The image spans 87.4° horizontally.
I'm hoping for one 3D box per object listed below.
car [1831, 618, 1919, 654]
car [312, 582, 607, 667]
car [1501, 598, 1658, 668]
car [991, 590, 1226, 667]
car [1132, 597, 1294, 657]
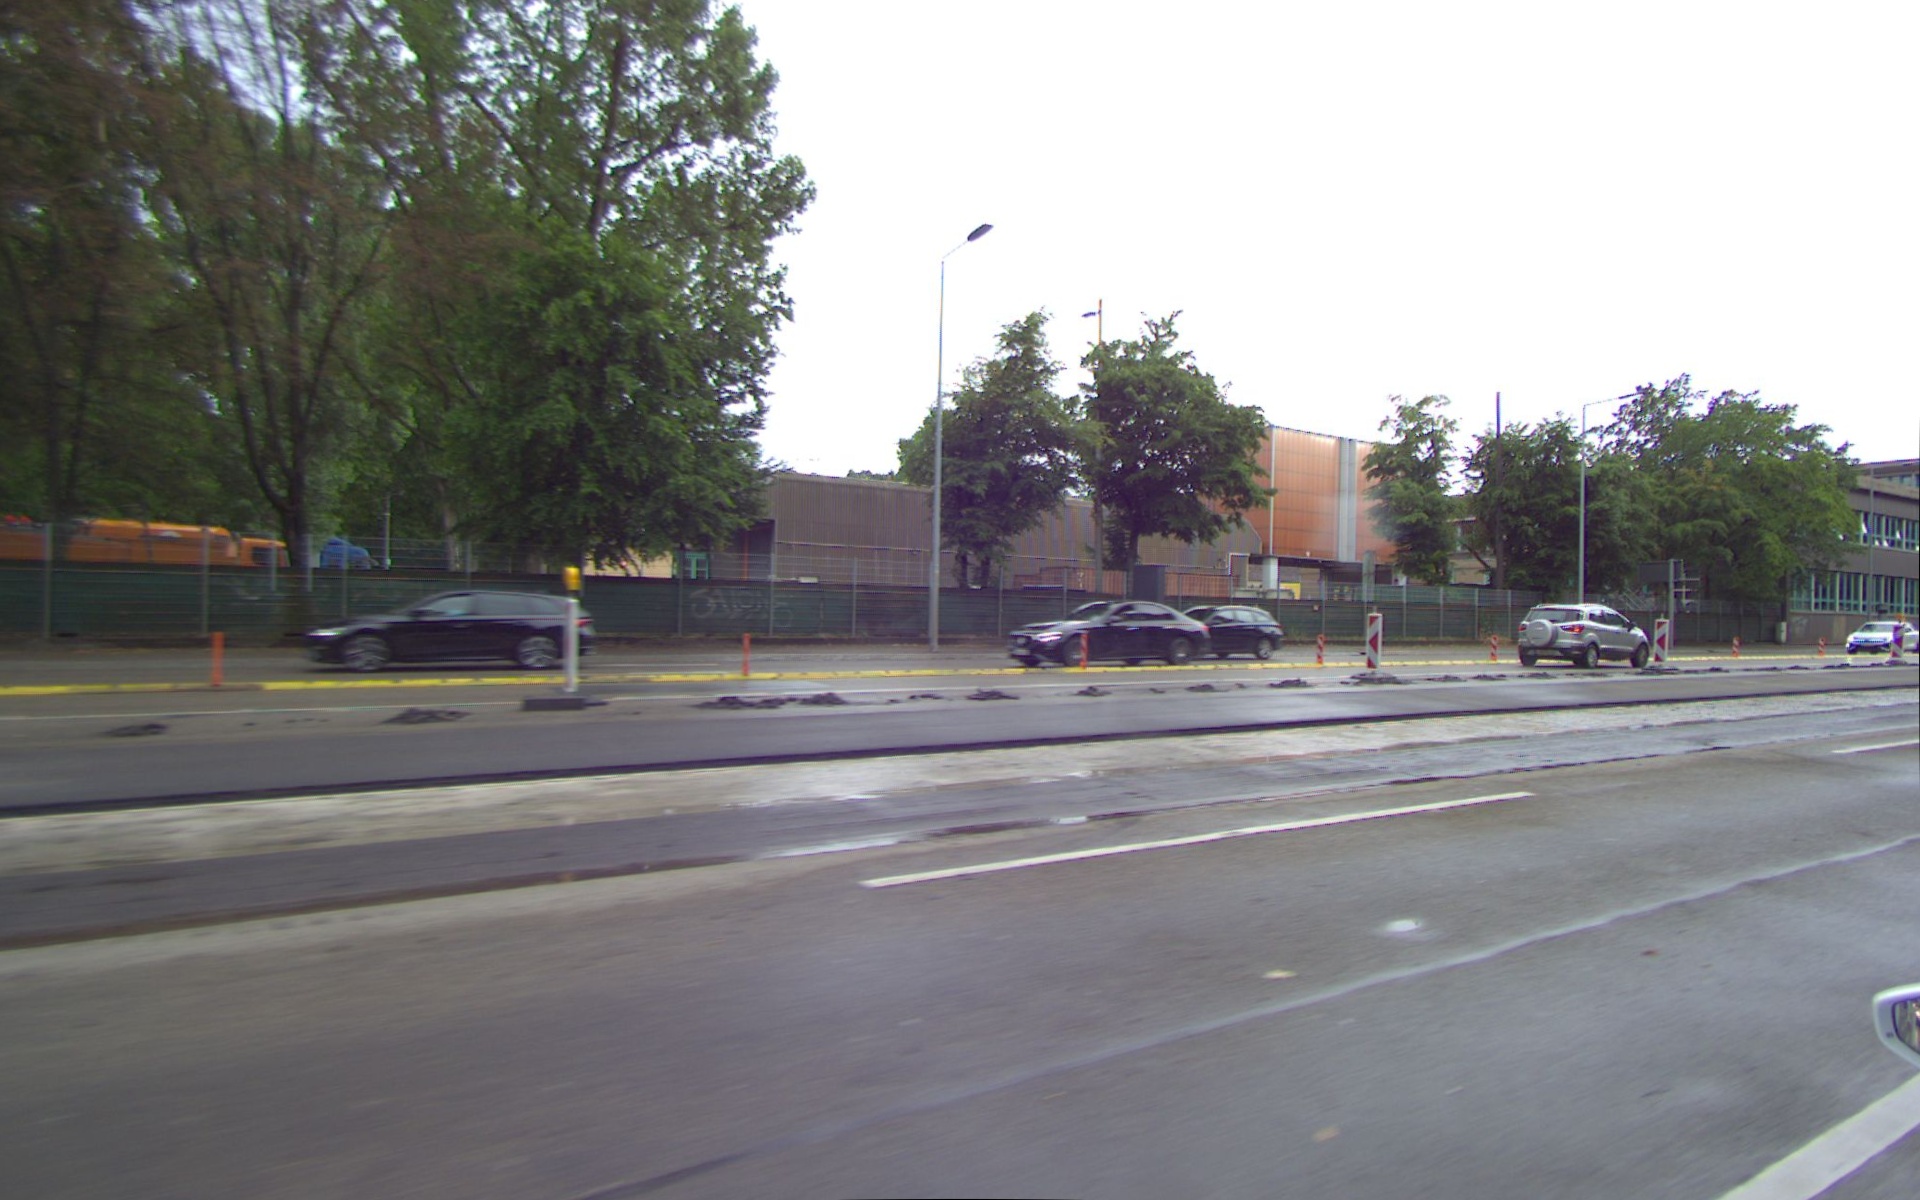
[{"bbox_3d":[41.987,1.630,45.936,4.216,1.533,1.984,1,0,-30],"label":"car"},{"bbox_3d":[-8.913,0.460,18.156,4.510,1.366,1.985,2,0,-29],"label":"car"},{"bbox_3d":[16.221,0.859,26.272,3.954,1.670,1.845,2,0,-31],"label":"car"},{"bbox_3d":[3.369,0.616,22.509,5.030,1.533,2.068,1,1,-31],"label":"car"},{"bbox_3d":[7.134,0.766,28.243,4.255,1.538,1.984,2,0,-31],"label":"car"}]
